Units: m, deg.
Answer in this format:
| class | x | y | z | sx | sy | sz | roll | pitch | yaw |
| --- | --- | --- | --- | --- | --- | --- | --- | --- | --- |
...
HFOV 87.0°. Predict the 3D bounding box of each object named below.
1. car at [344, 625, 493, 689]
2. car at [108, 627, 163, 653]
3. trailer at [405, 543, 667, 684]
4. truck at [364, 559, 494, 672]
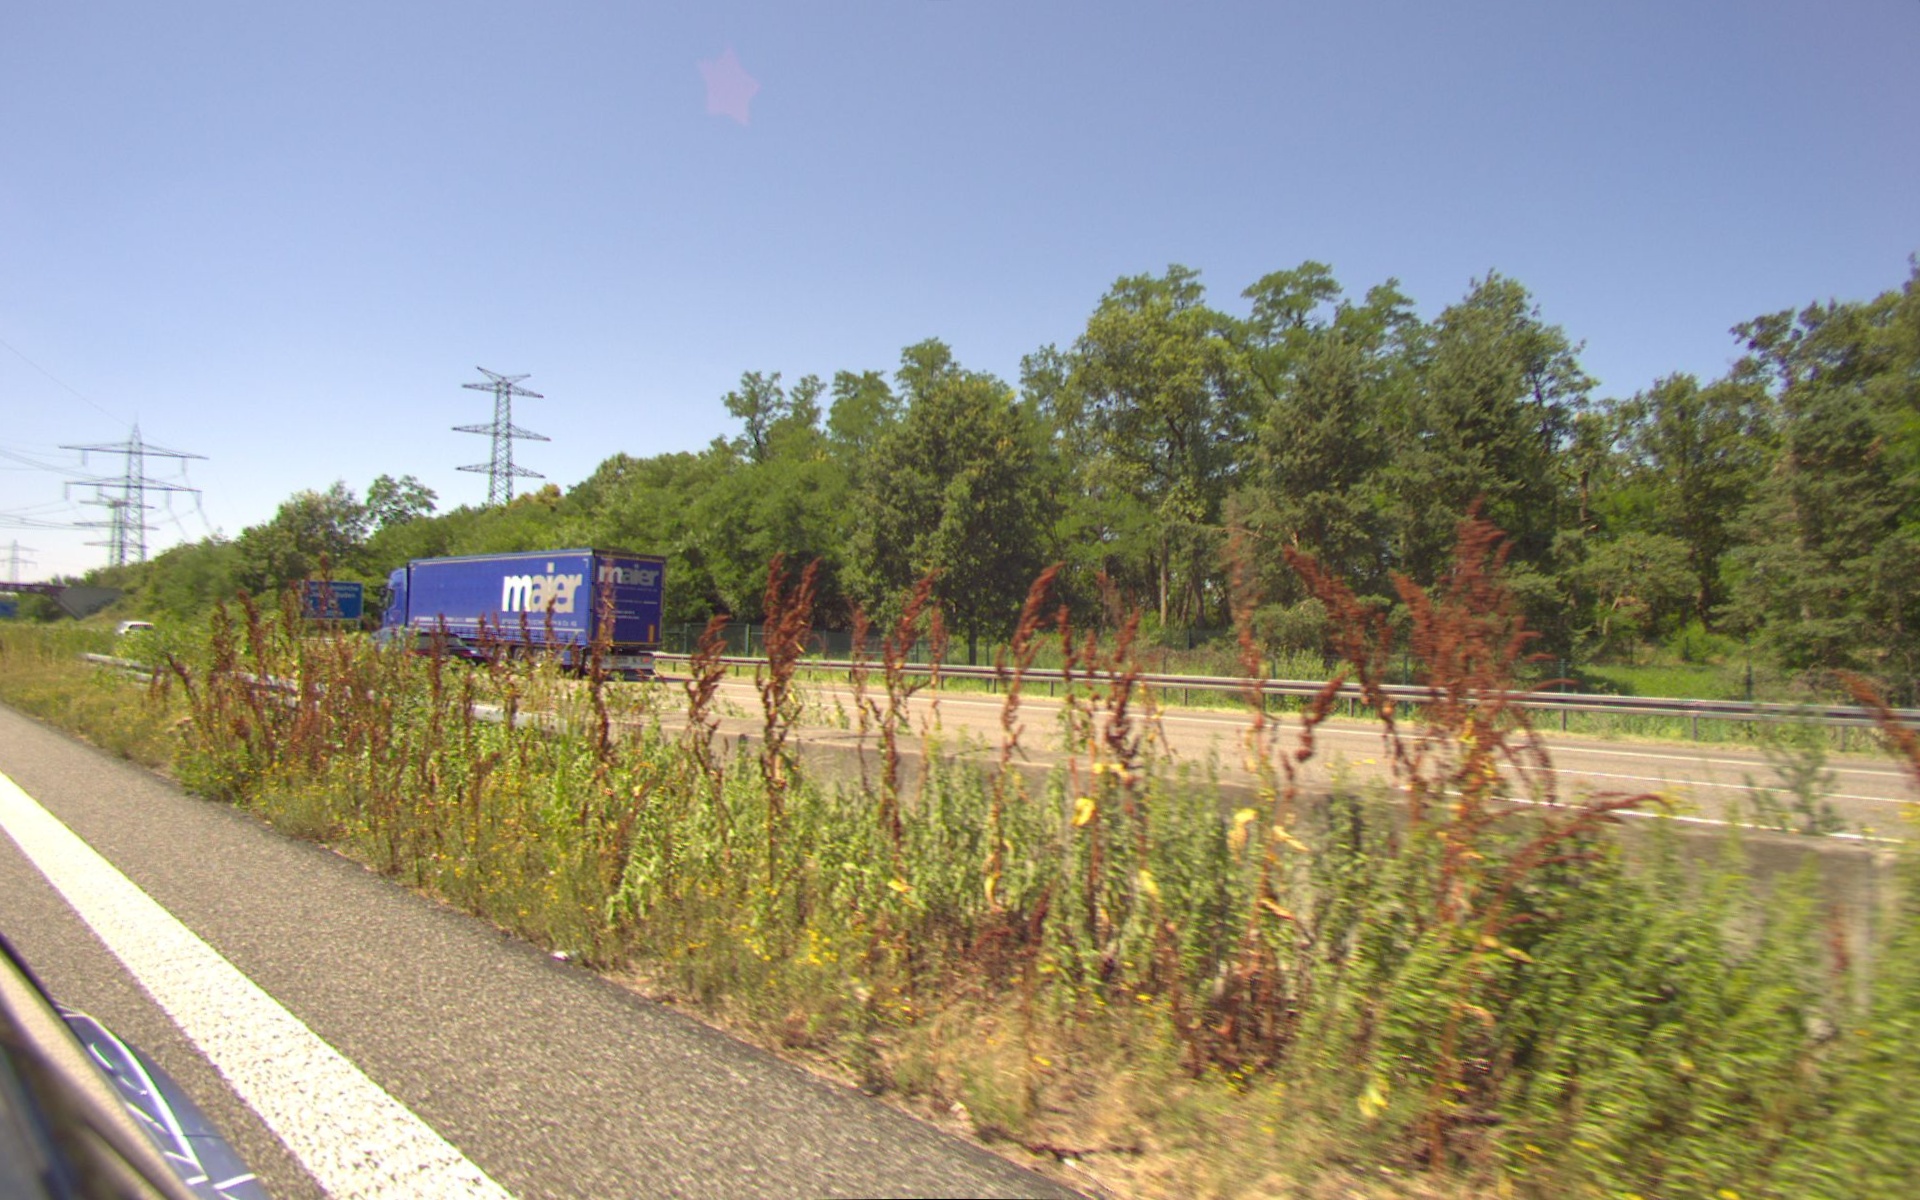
| class | x | y | z | sx | sy | sz | roll | pitch | yaw |
| --- | --- | --- | --- | --- | --- | --- | --- | --- | --- |
| car | -13.609 | 1.400 | 25.319 | 4.541 | 1.449 | 1.735 | -1 | -4 | 41 |
| car | -47.168 | 2.276 | 57.866 | 3.998 | 1.460 | 1.788 | -1 | -3 | 41 |
| trailer | -15.159 | 0.554 | 35.141 | 13.458 | 4.163 | 2.446 | -1 | -4 | 41 |
| truck | -21.239 | 0.667 | 40.385 | 5.680 | 4.165 | 2.441 | -1 | -4 | 41 |
